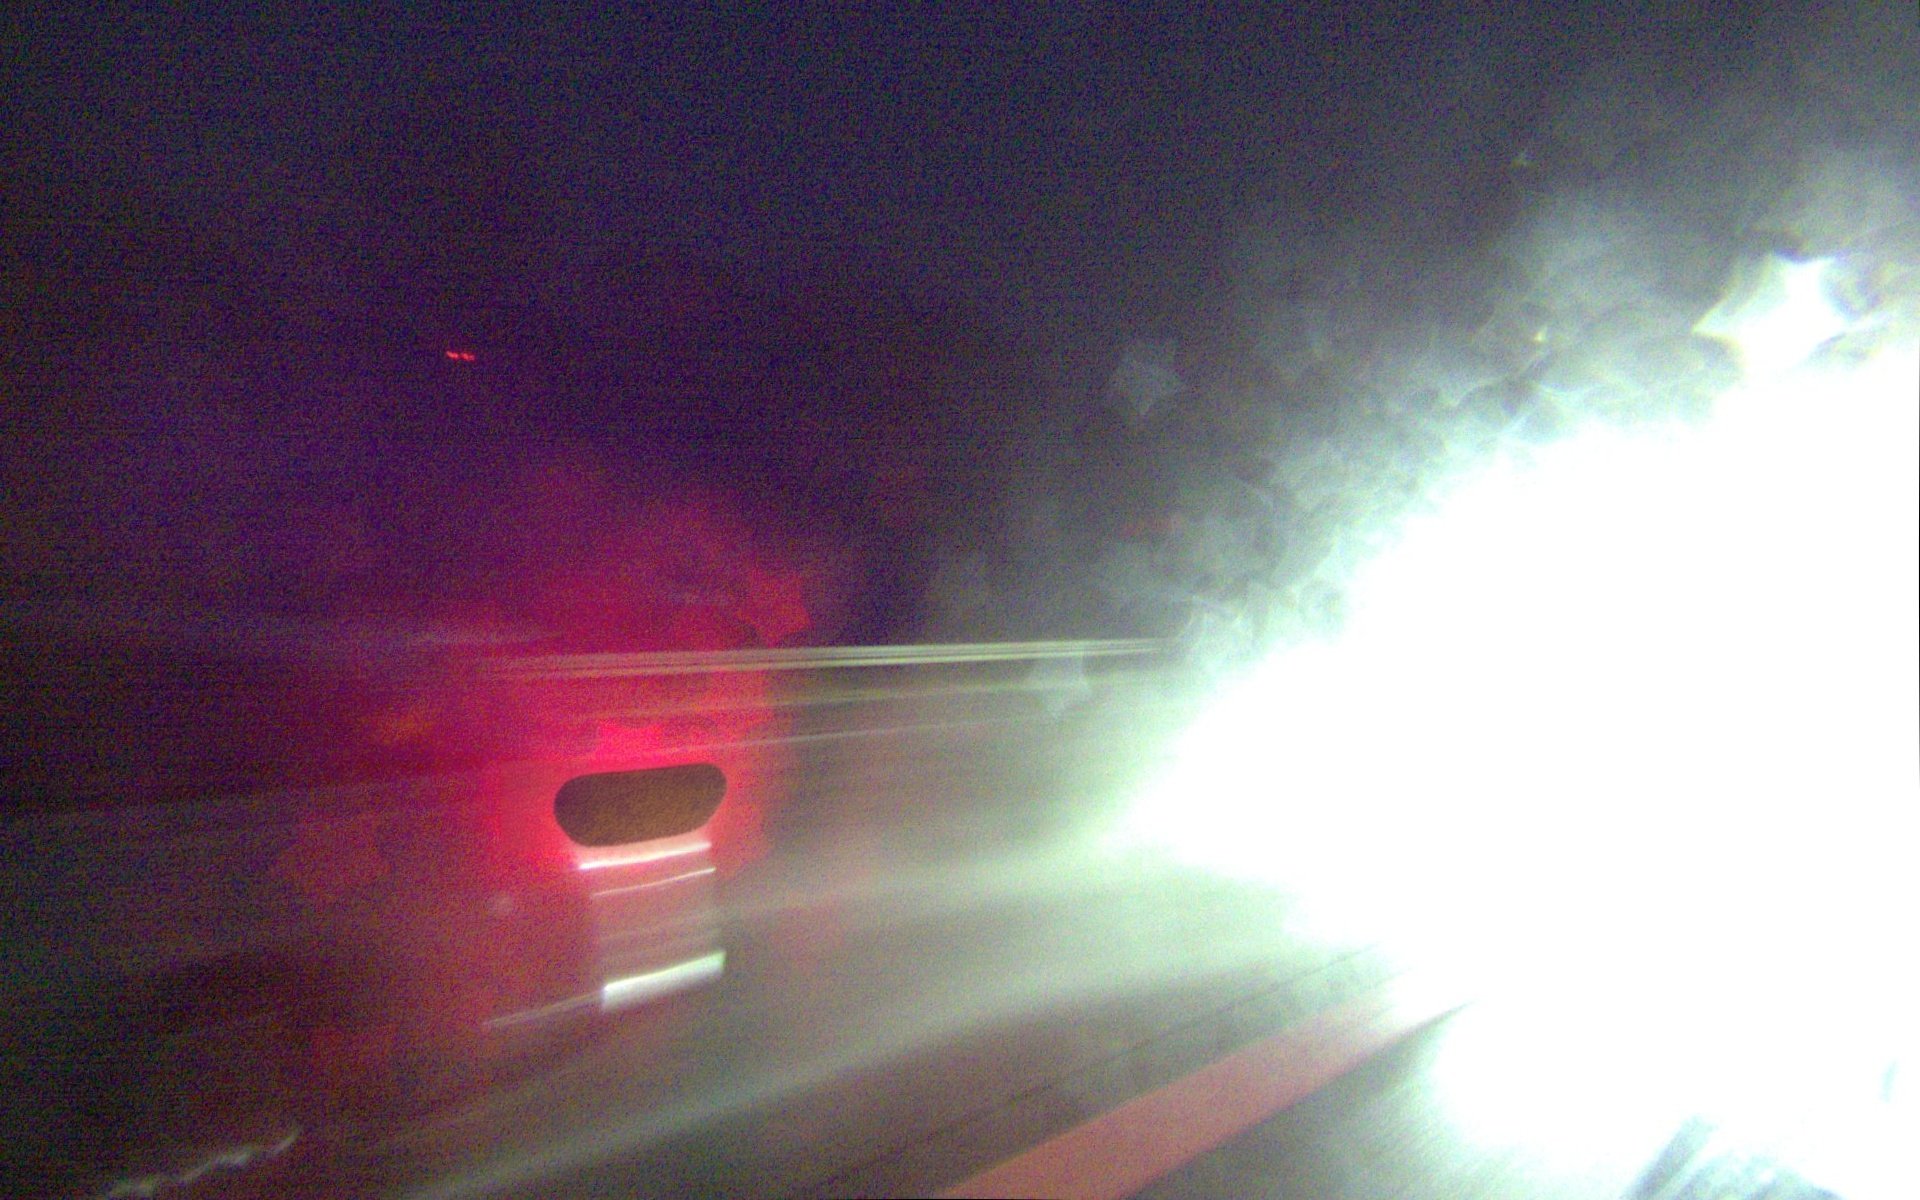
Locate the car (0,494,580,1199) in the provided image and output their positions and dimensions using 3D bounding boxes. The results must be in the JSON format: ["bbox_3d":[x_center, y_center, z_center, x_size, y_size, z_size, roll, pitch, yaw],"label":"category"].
[{"bbox_3d":[-3.434,0.565,1.570,4.930,1.538,2.060,0,1,-43],"label":"car"}]

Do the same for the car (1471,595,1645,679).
[{"bbox_3d":[12.023,0.679,20.274,3.971,1.516,1.723,0,0,-39],"label":"car"}]

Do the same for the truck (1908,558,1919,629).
[{"bbox_3d":[60.801,-0.420,62.558,6.095,4.273,2.761,-2,5,-45],"label":"truck"}]

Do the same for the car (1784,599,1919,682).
[{"bbox_3d":[18.235,0.731,20.157,4.257,1.467,1.998,0,0,-39],"label":"car"}]
